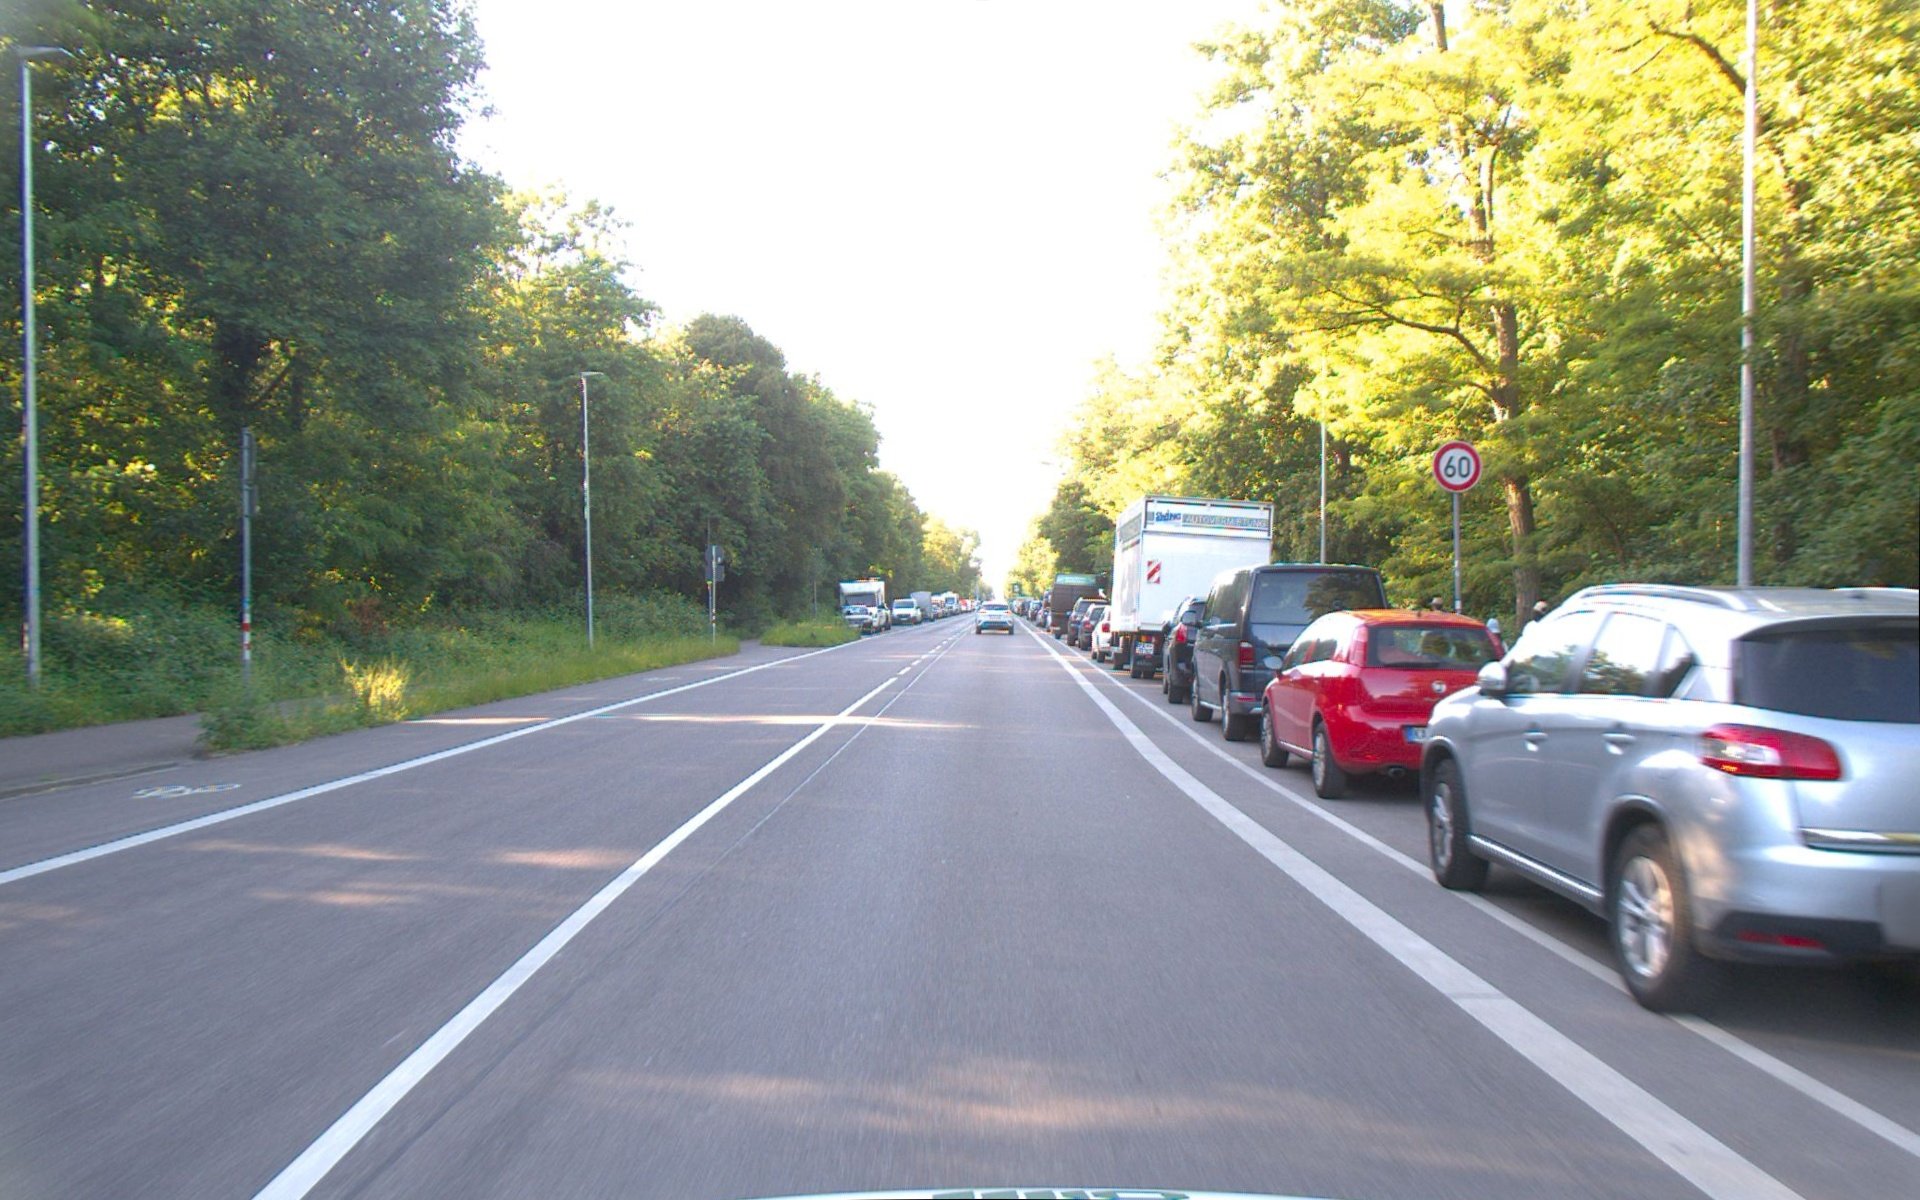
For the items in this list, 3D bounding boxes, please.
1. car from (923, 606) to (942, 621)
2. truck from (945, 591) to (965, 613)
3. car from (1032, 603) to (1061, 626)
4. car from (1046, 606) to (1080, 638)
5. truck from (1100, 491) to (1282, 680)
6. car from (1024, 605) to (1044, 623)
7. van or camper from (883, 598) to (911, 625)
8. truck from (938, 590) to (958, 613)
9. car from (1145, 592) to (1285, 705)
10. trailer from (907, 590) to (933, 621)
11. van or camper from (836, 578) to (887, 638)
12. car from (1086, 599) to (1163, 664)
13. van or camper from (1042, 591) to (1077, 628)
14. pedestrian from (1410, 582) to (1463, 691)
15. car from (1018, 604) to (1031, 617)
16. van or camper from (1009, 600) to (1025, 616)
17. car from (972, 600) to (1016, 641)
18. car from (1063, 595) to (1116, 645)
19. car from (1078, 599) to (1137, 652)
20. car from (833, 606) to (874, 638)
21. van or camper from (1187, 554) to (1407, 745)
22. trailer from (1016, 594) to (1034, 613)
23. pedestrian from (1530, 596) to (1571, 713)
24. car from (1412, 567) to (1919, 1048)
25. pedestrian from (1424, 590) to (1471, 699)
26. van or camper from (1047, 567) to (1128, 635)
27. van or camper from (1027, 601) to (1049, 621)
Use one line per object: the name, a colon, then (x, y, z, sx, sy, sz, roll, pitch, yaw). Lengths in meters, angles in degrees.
car: (-2.812, 1.381, 172.050, 1.696, 1.504, 4.325, -2, 0, 2)
truck: (-0.647, 0.298, 238.572, 2.651, 3.148, 7.990, 0, 0, 2)
car: (6.052, 1.019, 115.738, 1.711, 1.542, 3.999, -2, 0, 0)
car: (5.407, 1.143, 87.389, 1.676, 1.572, 4.023, 2, 0, 2)
truck: (4.728, -0.285, 35.603, 2.774, 3.559, 8.578, 0, 0, 0)
car: (6.662, 1.229, 149.193, 1.655, 1.551, 4.150, 1, 0, 2)
van or camper: (-4.647, 0.852, 122.586, 1.798, 1.945, 4.856, -2, 0, 1)
truck: (-1.771, 0.271, 249.944, 2.651, 3.406, 10.925, 0, 0, 2)
car: (4.054, 0.727, 26.880, 1.761, 1.686, 4.030, 0, 0, 2)
trailer: (-3.485, 0.475, 145.685, 1.952, 2.643, 4.416, -2, 0, 2)
van or camper: (-5.217, 0.418, 88.481, 2.267, 3.022, 7.109, -2, 0, -1)
car: (4.346, 0.803, 44.189, 1.676, 1.596, 4.001, 2, 0, 1)
van or camper: (6.552, 0.614, 109.154, 1.993, 2.352, 6.041, -1, 0, 1)
pedestrian: (7.968, 0.601, 27.690, 0.605, 1.795, 0.907, -1, 0, 1)
car: (8.992, 1.456, 232.011, 1.803, 1.691, 4.001, 0, 0, 2)
van or camper: (7.179, 0.982, 209.314, 1.952, 1.966, 5.200, 1, 0, 2)
car: (1.635, 0.967, 78.409, 1.986, 1.872, 4.030, 0, 0, 2)
car: (4.637, 0.698, 59.624, 1.676, 1.694, 4.553, 2, 0, 3)
car: (4.795, 0.793, 54.263, 1.676, 1.596, 4.553, 2, 0, 3)
car: (-5.177, 1.058, 81.170, 1.790, 1.501, 4.679, -2, 0, -2)
van or camper: (3.946, 0.533, 20.120, 1.858, 2.049, 4.587, 0, 0, 2)
trailer: (10.012, 0.531, 254.030, 2.700, 2.920, 6.589, 0, 0, 1)
pedestrian: (8.291, 0.760, 23.222, 0.386, 1.616, 0.482, -1, 0, 1)
car: (3.514, 0.696, 7.613, 1.762, 1.623, 4.029, 0, 0, 0)
pedestrian: (7.339, 0.666, 24.920, 0.552, 1.616, 0.482, -1, 0, 1)
van or camper: (5.687, 0.032, 72.717, 2.389, 2.849, 6.561, -1, 0, 15)
van or camper: (7.336, 1.003, 155.751, 1.911, 1.847, 4.381, 0, 0, 2)
